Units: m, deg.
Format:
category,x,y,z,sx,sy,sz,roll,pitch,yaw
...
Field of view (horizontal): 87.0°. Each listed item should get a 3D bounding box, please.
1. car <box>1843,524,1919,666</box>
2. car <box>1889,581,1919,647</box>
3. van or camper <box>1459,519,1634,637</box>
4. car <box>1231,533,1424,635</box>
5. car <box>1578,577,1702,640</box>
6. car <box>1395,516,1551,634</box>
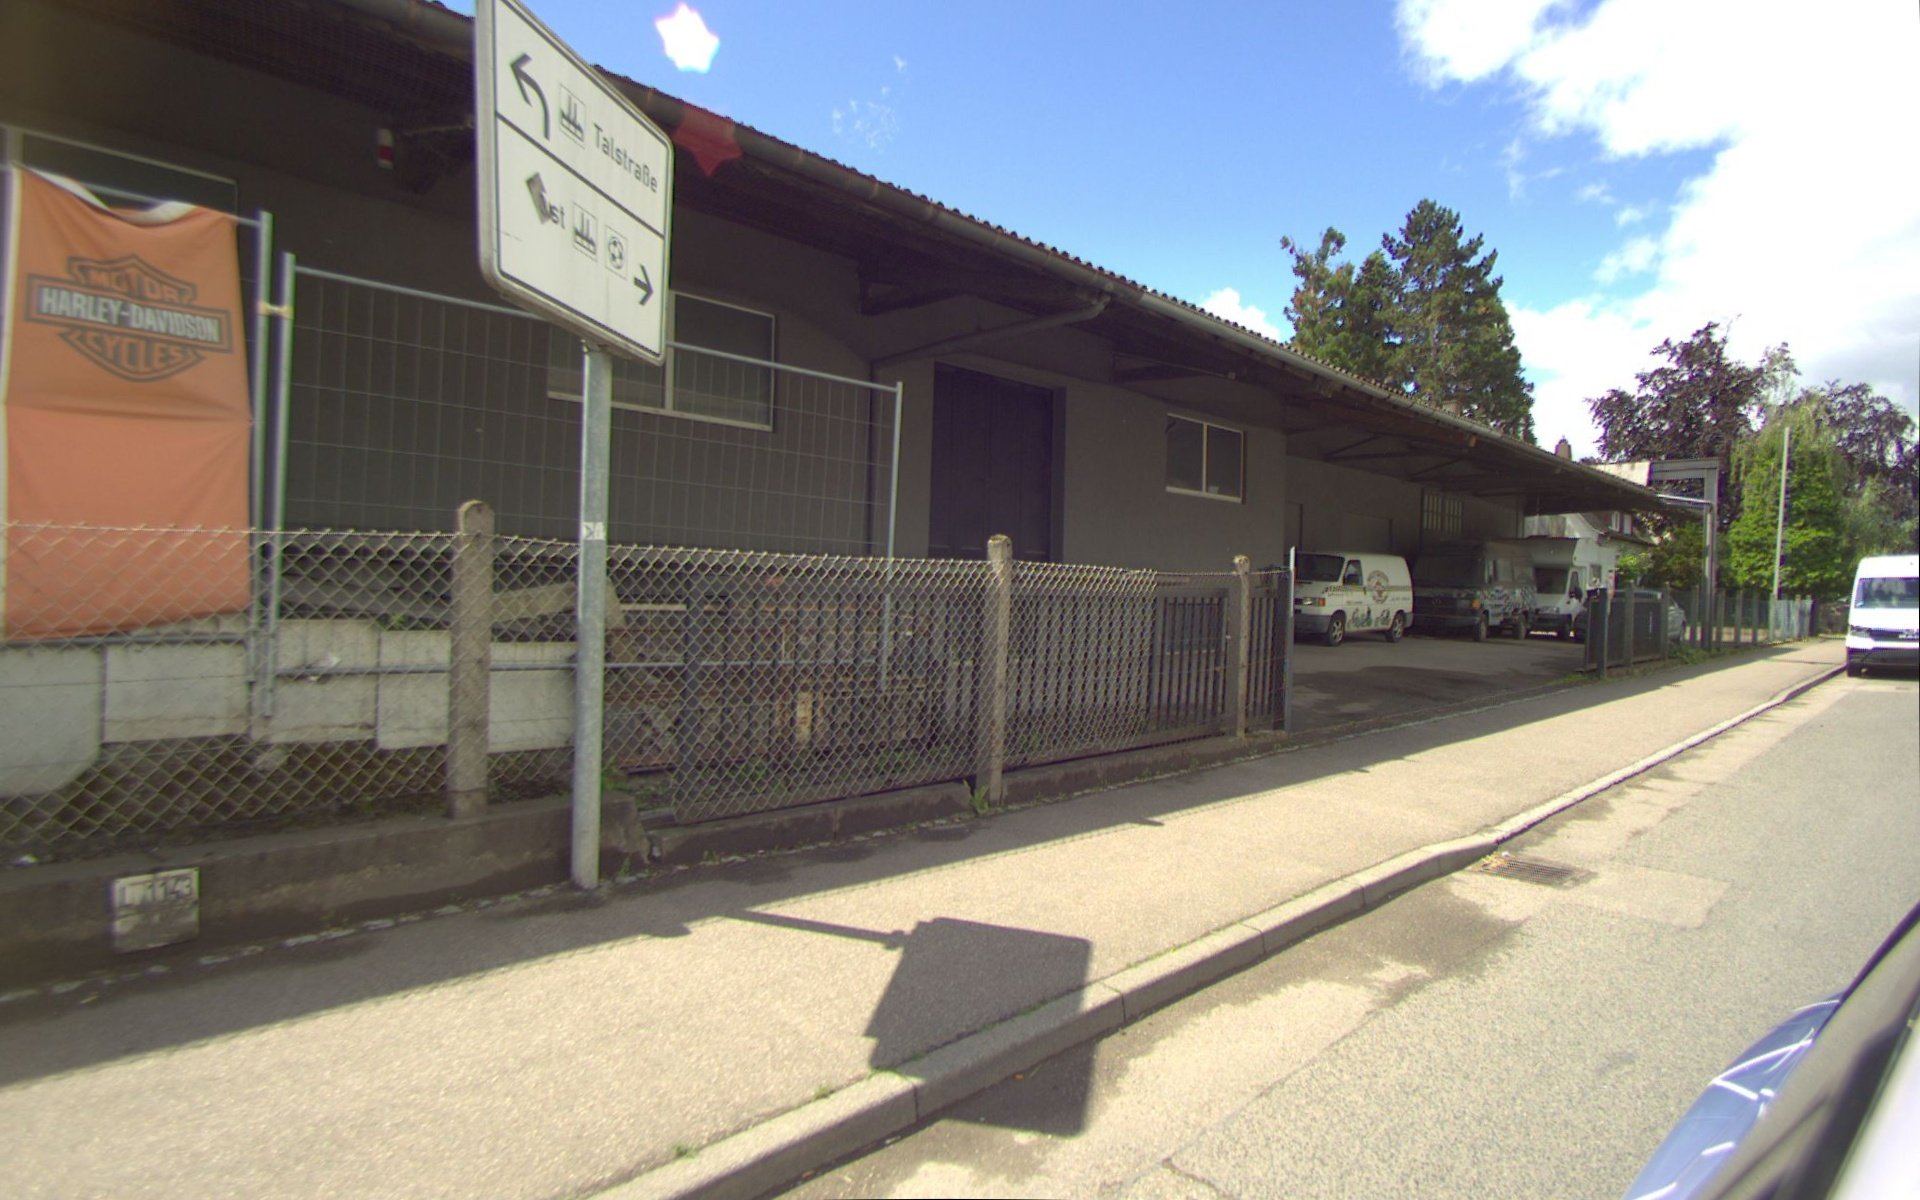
category,x,y,z,sx,sy,sz,roll,pitch,yaw
car,20.769,-0.102,21.782,2.216,2.722,6.551,3,2,44
car,29.650,0.405,30.753,1.905,1.909,5.303,-1,0,44
van or camper,17.502,-0.618,29.984,2.882,3.099,6.803,2,1,44
car,7.949,-0.313,21.651,4.773,1.934,1.995,1,1,-44
car,17.894,0.208,26.527,4.845,1.508,1.766,1,1,-45
car,13.257,-0.545,25.966,2.018,2.715,5.409,2,0,44
